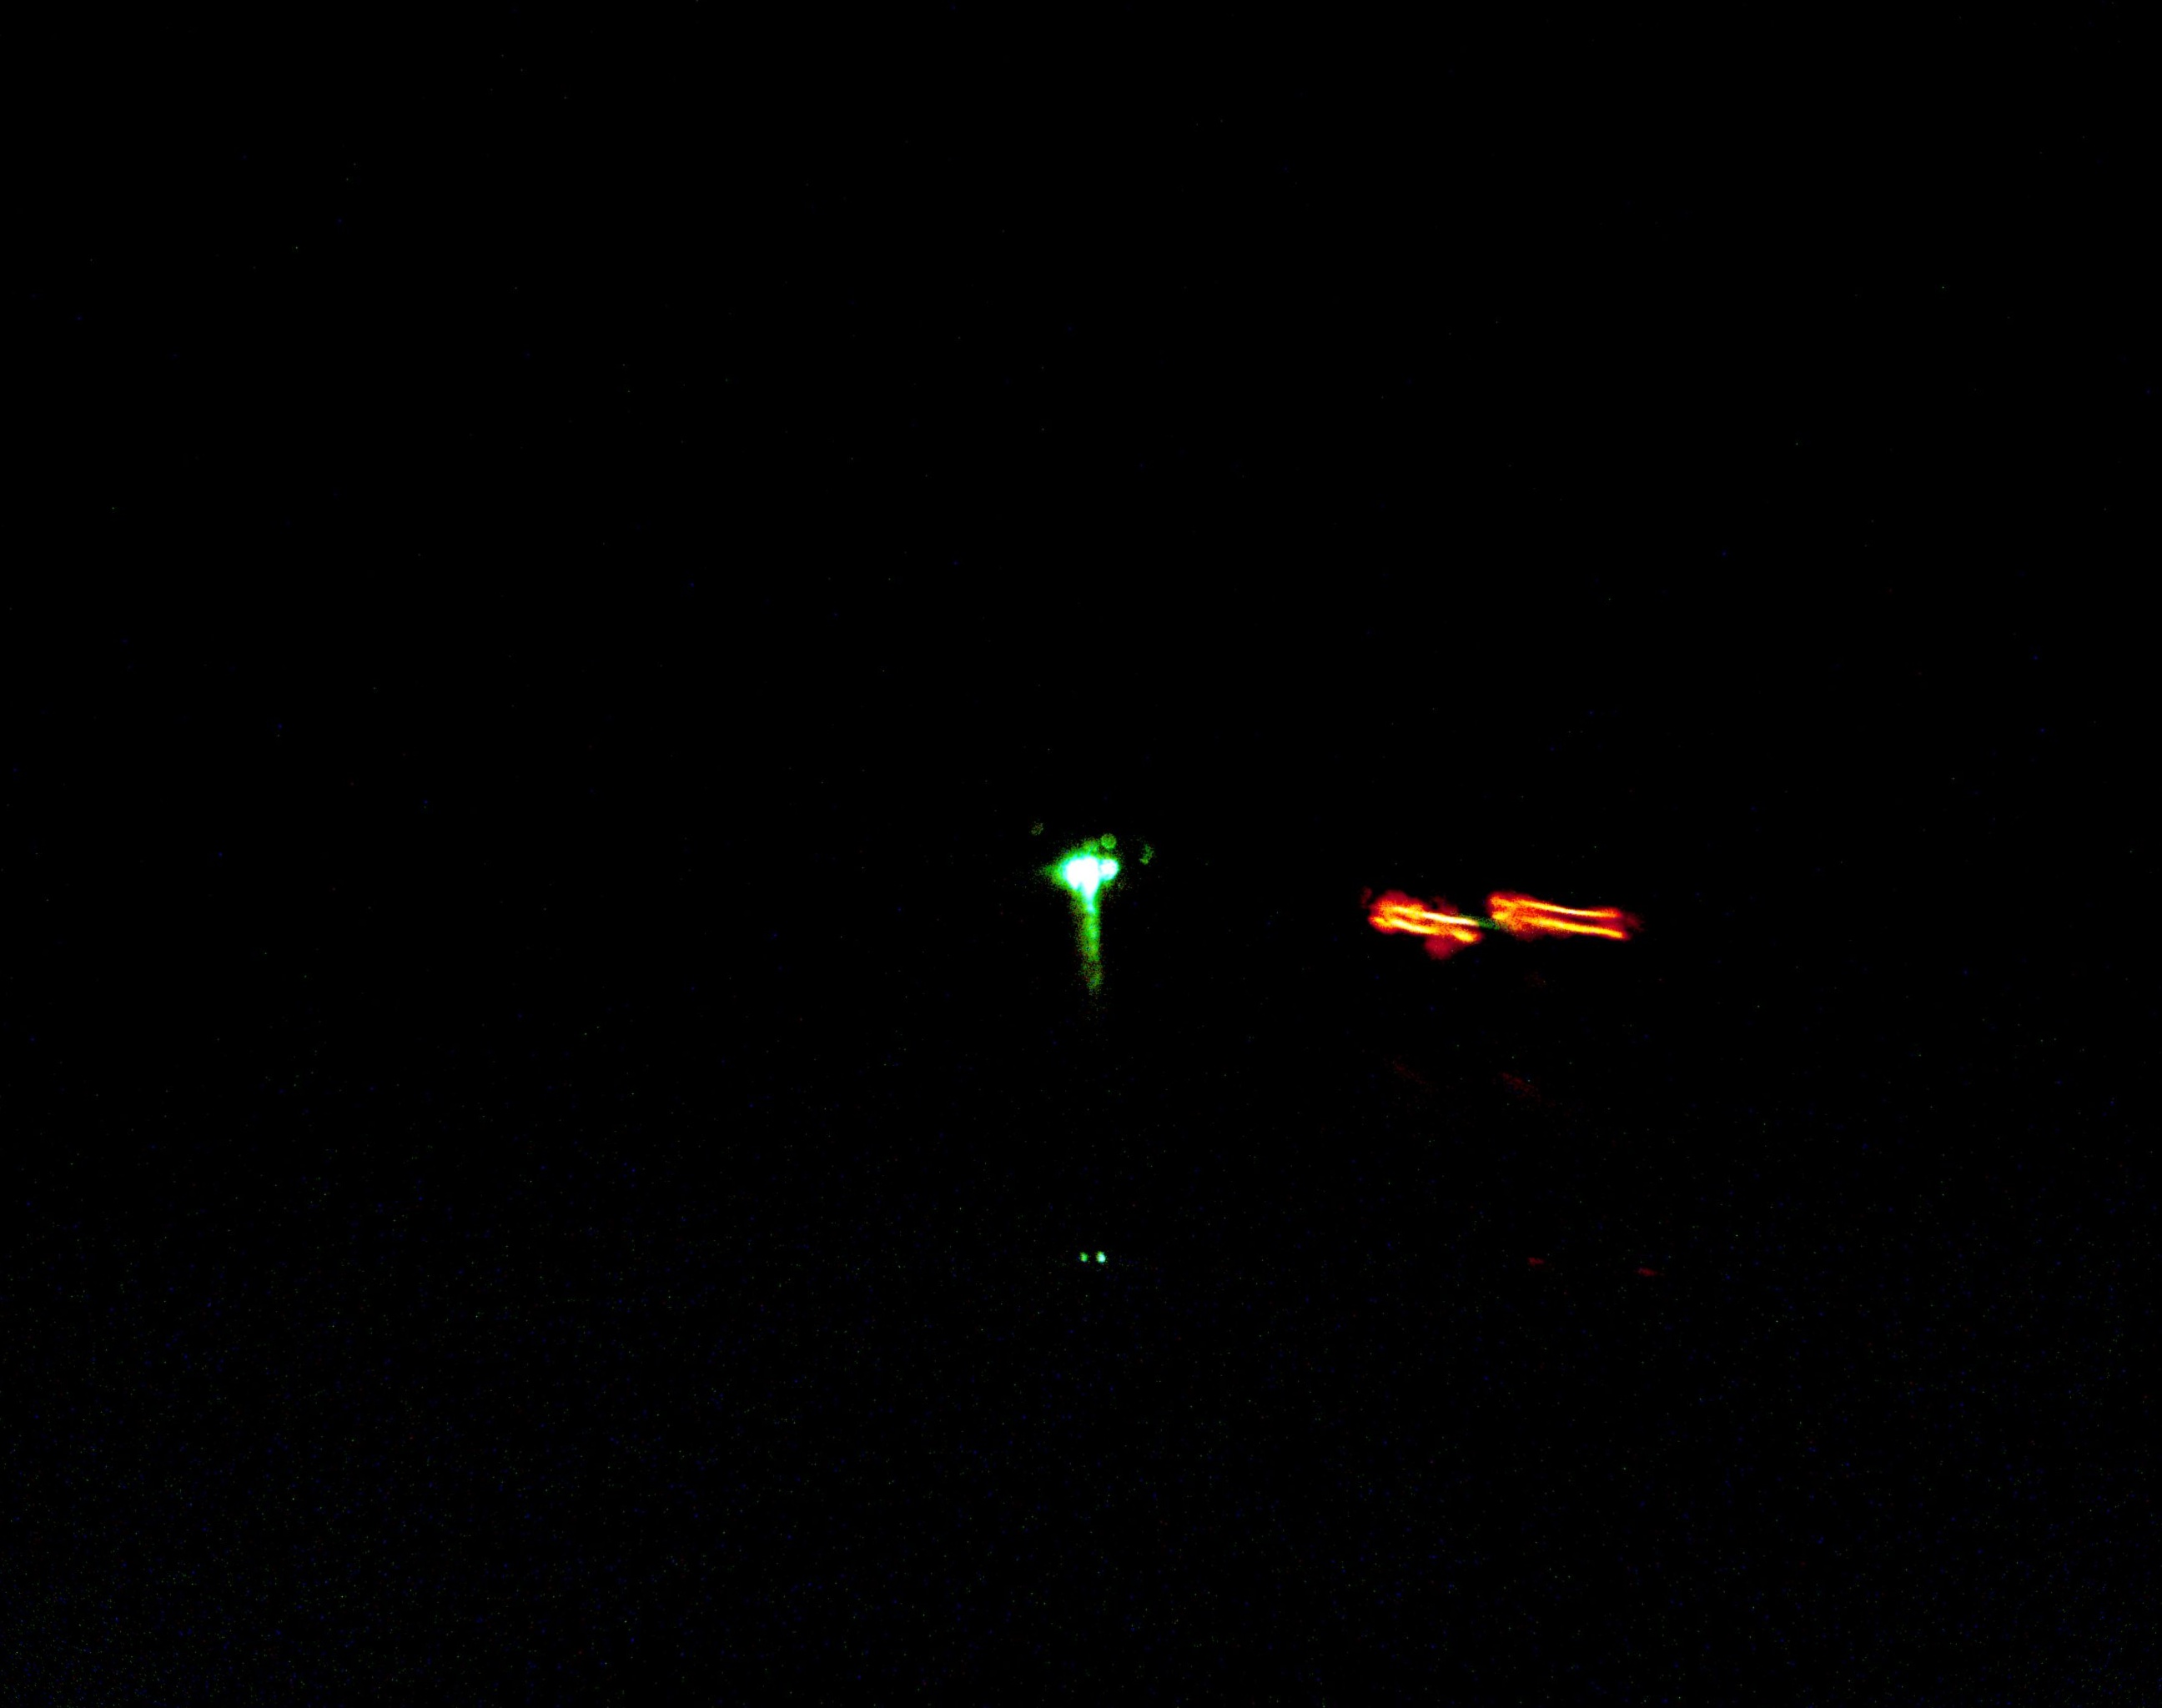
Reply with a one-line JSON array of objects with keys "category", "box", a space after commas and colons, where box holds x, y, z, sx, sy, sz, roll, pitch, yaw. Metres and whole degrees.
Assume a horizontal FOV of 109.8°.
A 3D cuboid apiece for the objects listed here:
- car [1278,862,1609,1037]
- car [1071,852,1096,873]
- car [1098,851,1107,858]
[{"category": "car", "box": [3.596, 0.840, 8.356, 1.751, 1.418, 3.685, -1, 0, -3]}, {"category": "car", "box": [0.234, 0.723, 65.677, 1.998, 1.575, 4.000, -3, 0, 0]}, {"category": "car", "box": [5.396, 0.042, 192.465, 1.999, 1.567, 4.661, -3, 0, 0]}]
